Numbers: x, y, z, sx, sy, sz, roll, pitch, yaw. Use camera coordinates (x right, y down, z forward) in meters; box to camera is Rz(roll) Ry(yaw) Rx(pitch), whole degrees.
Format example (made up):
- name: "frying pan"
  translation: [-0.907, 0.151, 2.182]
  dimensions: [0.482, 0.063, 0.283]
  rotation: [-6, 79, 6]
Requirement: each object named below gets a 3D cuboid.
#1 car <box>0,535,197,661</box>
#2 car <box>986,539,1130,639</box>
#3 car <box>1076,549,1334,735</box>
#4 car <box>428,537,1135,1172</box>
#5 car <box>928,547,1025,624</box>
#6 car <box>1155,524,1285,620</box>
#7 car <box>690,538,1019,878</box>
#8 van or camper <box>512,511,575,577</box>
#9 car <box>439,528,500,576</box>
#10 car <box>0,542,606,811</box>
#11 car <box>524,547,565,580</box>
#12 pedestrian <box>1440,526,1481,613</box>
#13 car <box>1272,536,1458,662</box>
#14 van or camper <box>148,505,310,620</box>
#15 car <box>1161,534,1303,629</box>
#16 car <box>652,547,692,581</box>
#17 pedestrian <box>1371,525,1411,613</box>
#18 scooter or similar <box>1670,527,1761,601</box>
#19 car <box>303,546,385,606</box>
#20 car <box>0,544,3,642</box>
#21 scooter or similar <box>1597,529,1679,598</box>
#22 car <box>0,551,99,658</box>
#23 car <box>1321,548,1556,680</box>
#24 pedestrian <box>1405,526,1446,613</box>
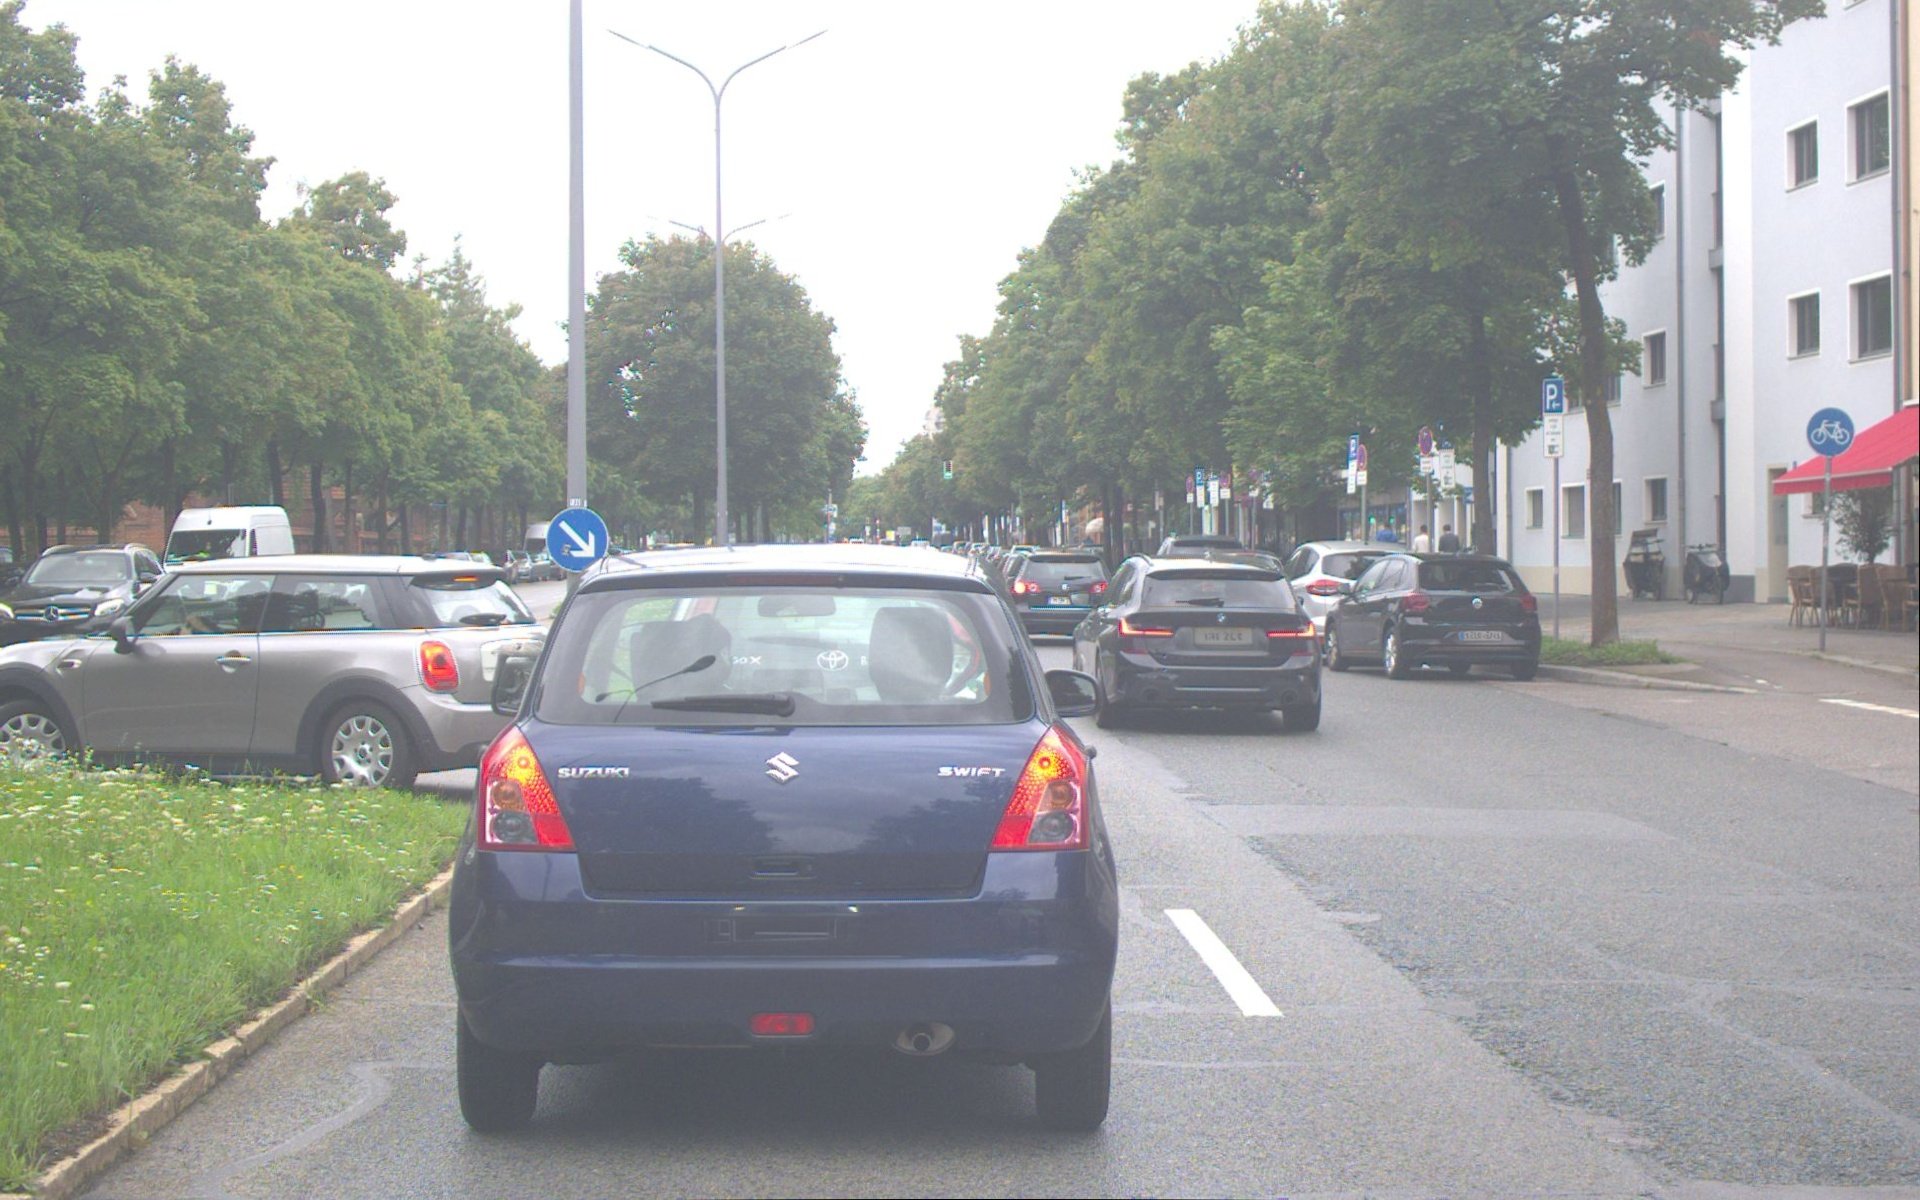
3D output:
- name: "car"
  translation: [-11.994, -0.070, 47.907]
  dimensions: [1.766, 1.618, 4.507]
  rotation: [-2, 1, -2]
- name: "car"
  translation: [1.456, -0.196, 52.768]
  dimensions: [1.731, 1.427, 4.443]
  rotation: [1, 1, -4]
- name: "car"
  translation: [2.010, 0.297, 29.377]
  dimensions: [1.758, 1.408, 4.463]
  rotation: [1, 1, -1]
- name: "car"
  translation: [-0.501, 0.571, 10.153]
  dimensions: [1.682, 1.496, 3.919]
  rotation: [0, 1, -2]
- name: "car"
  translation: [0.286, -0.294, 65.217]
  dimensions: [1.682, 1.379, 3.919]
  rotation: [1, 1, -2]
- name: "car"
  translation: [4.751, -0.545, 63.279]
  dimensions: [1.865, 1.677, 4.225]
  rotation: [-1, 1, -3]
- name: "car"
  translation: [-0.524, 0.446, 16.635]
  dimensions: [1.444, 1.478, 3.107]
  rotation: [0, 1, -2]
- name: "van or camper"
  translation: [-21.143, -2.833, 174.695]
  dimensions: [2.561, 3.284, 6.938]
  rotation: [1, 1, -2]
- name: "car"
  translation: [-16.619, -1.635, 116.559]
  dimensions: [1.632, 1.577, 3.879]
  rotation: [1, 1, -2]
- name: "car"
  translation: [-4.140, 0.393, 20.461]
  dimensions: [3.727, 1.458, 1.685]
  rotation: [1, 1, 26]
- name: "car"
  translation: [-20.273, -1.807, 167.860]
  dimensions: [1.632, 1.577, 3.879]
  rotation: [1, 1, -2]
- name: "pedestrian"
  translation: [11.640, -0.710, 79.903]
  dimensions: [0.794, 2.007, 1.006]
  rotation: [0, 1, -1]
- name: "car"
  translation: [5.275, -0.052, 45.230]
  dimensions: [1.791, 1.553, 4.225]
  rotation: [-1, 1, -2]
- name: "van or camper"
  translation: [-16.500, -0.863, 78.009]
  dimensions: [2.117, 2.473, 7.449]
  rotation: [1, 1, 0]
- name: "car"
  translation: [4.585, -0.344, 58.418]
  dimensions: [1.865, 1.512, 4.225]
  rotation: [-1, 1, -3]
- name: "car"
  translation: [-13.426, -1.666, 160.461]
  dimensions: [1.632, 1.547, 3.879]
  rotation: [1, 1, -2]
- name: "pedestrian"
  translation: [9.948, -0.721, 79.384]
  dimensions: [0.794, 2.007, 1.006]
  rotation: [0, 1, -1]
- name: "scooter or similar"
  translation: [13.718, -0.662, 62.509]
  dimensions: [1.033, 1.303, 2.755]
  rotation: [0, 1, 0]
- name: "car"
  translation: [-16.734, -0.657, 93.539]
  dimensions: [1.632, 1.577, 3.879]
  rotation: [1, 1, -2]
- name: "car"
  translation: [-15.798, -0.093, 52.127]
  dimensions: [1.590, 1.553, 3.879]
  rotation: [1, 1, -2]
- name: "scooter or similar"
  translation: [13.193, -0.720, 67.003]
  dimensions: [1.033, 1.303, 2.755]
  rotation: [0, 1, 0]
- name: "car"
  translation: [-15.898, 0.049, 58.506]
  dimensions: [1.632, 1.735, 3.879]
  rotation: [1, 1, -2]
- name: "car"
  translation: [5.558, 0.123, 40.398]
  dimensions: [1.865, 1.412, 4.225]
  rotation: [-1, 1, -4]
- name: "pedestrian"
  translation: [10.761, -0.712, 79.420]
  dimensions: [0.794, 2.007, 1.006]
  rotation: [0, 1, -1]
